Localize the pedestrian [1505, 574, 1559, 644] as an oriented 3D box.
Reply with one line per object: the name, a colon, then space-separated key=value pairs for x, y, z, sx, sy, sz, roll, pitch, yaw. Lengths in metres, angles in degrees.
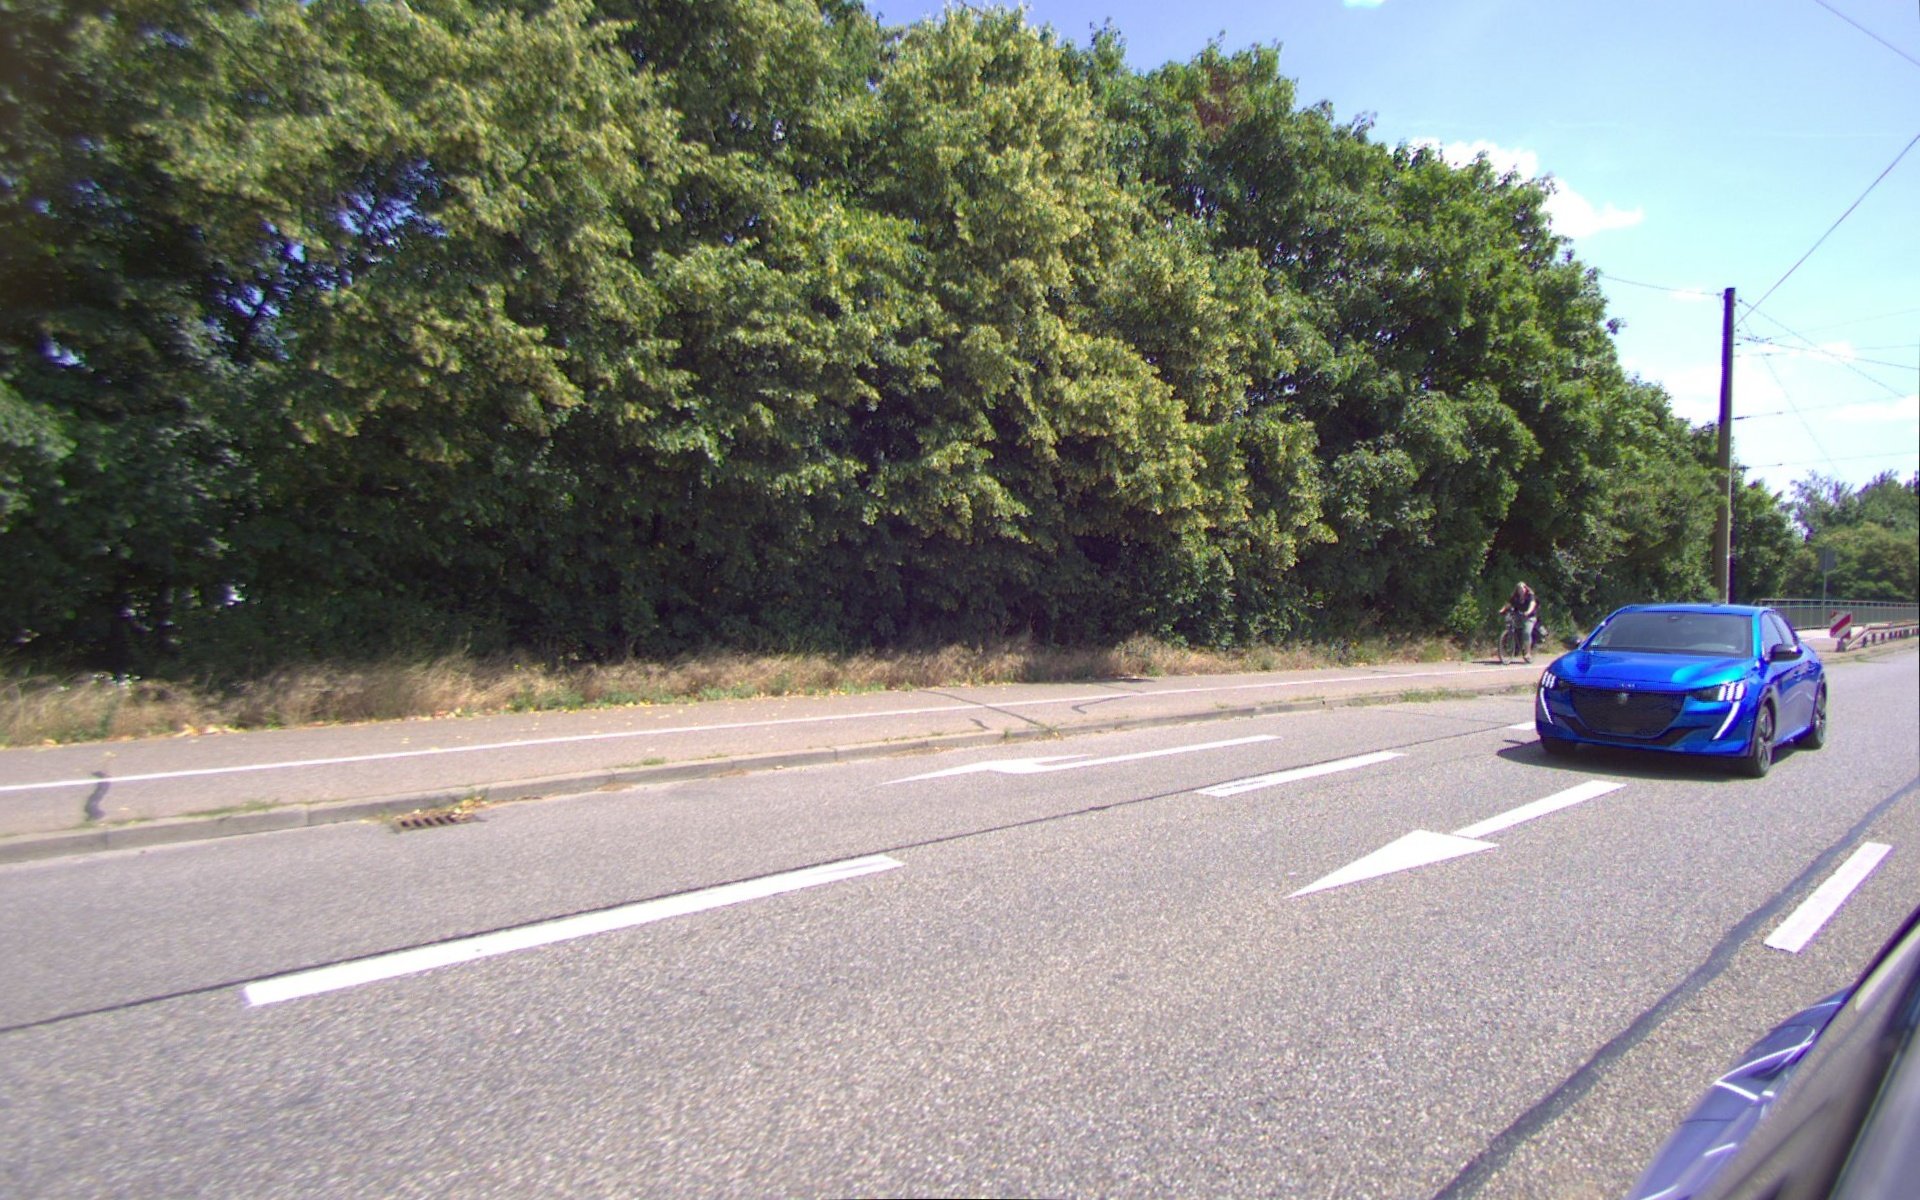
pedestrian: x=11.749 y=0.177 z=20.778 sx=1.032 sy=1.391 sz=0.629 roll=0 pitch=2 yaw=-40

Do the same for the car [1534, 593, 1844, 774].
car: x=7.165 y=0.649 z=9.825 sx=3.678 sy=1.423 sz=1.658 roll=0 pitch=0 yaw=-41

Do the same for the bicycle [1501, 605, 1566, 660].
bicycle: x=11.788 y=0.643 z=20.785 sx=1.815 sy=1.037 sz=0.561 roll=-1 pitch=2 yaw=-40
